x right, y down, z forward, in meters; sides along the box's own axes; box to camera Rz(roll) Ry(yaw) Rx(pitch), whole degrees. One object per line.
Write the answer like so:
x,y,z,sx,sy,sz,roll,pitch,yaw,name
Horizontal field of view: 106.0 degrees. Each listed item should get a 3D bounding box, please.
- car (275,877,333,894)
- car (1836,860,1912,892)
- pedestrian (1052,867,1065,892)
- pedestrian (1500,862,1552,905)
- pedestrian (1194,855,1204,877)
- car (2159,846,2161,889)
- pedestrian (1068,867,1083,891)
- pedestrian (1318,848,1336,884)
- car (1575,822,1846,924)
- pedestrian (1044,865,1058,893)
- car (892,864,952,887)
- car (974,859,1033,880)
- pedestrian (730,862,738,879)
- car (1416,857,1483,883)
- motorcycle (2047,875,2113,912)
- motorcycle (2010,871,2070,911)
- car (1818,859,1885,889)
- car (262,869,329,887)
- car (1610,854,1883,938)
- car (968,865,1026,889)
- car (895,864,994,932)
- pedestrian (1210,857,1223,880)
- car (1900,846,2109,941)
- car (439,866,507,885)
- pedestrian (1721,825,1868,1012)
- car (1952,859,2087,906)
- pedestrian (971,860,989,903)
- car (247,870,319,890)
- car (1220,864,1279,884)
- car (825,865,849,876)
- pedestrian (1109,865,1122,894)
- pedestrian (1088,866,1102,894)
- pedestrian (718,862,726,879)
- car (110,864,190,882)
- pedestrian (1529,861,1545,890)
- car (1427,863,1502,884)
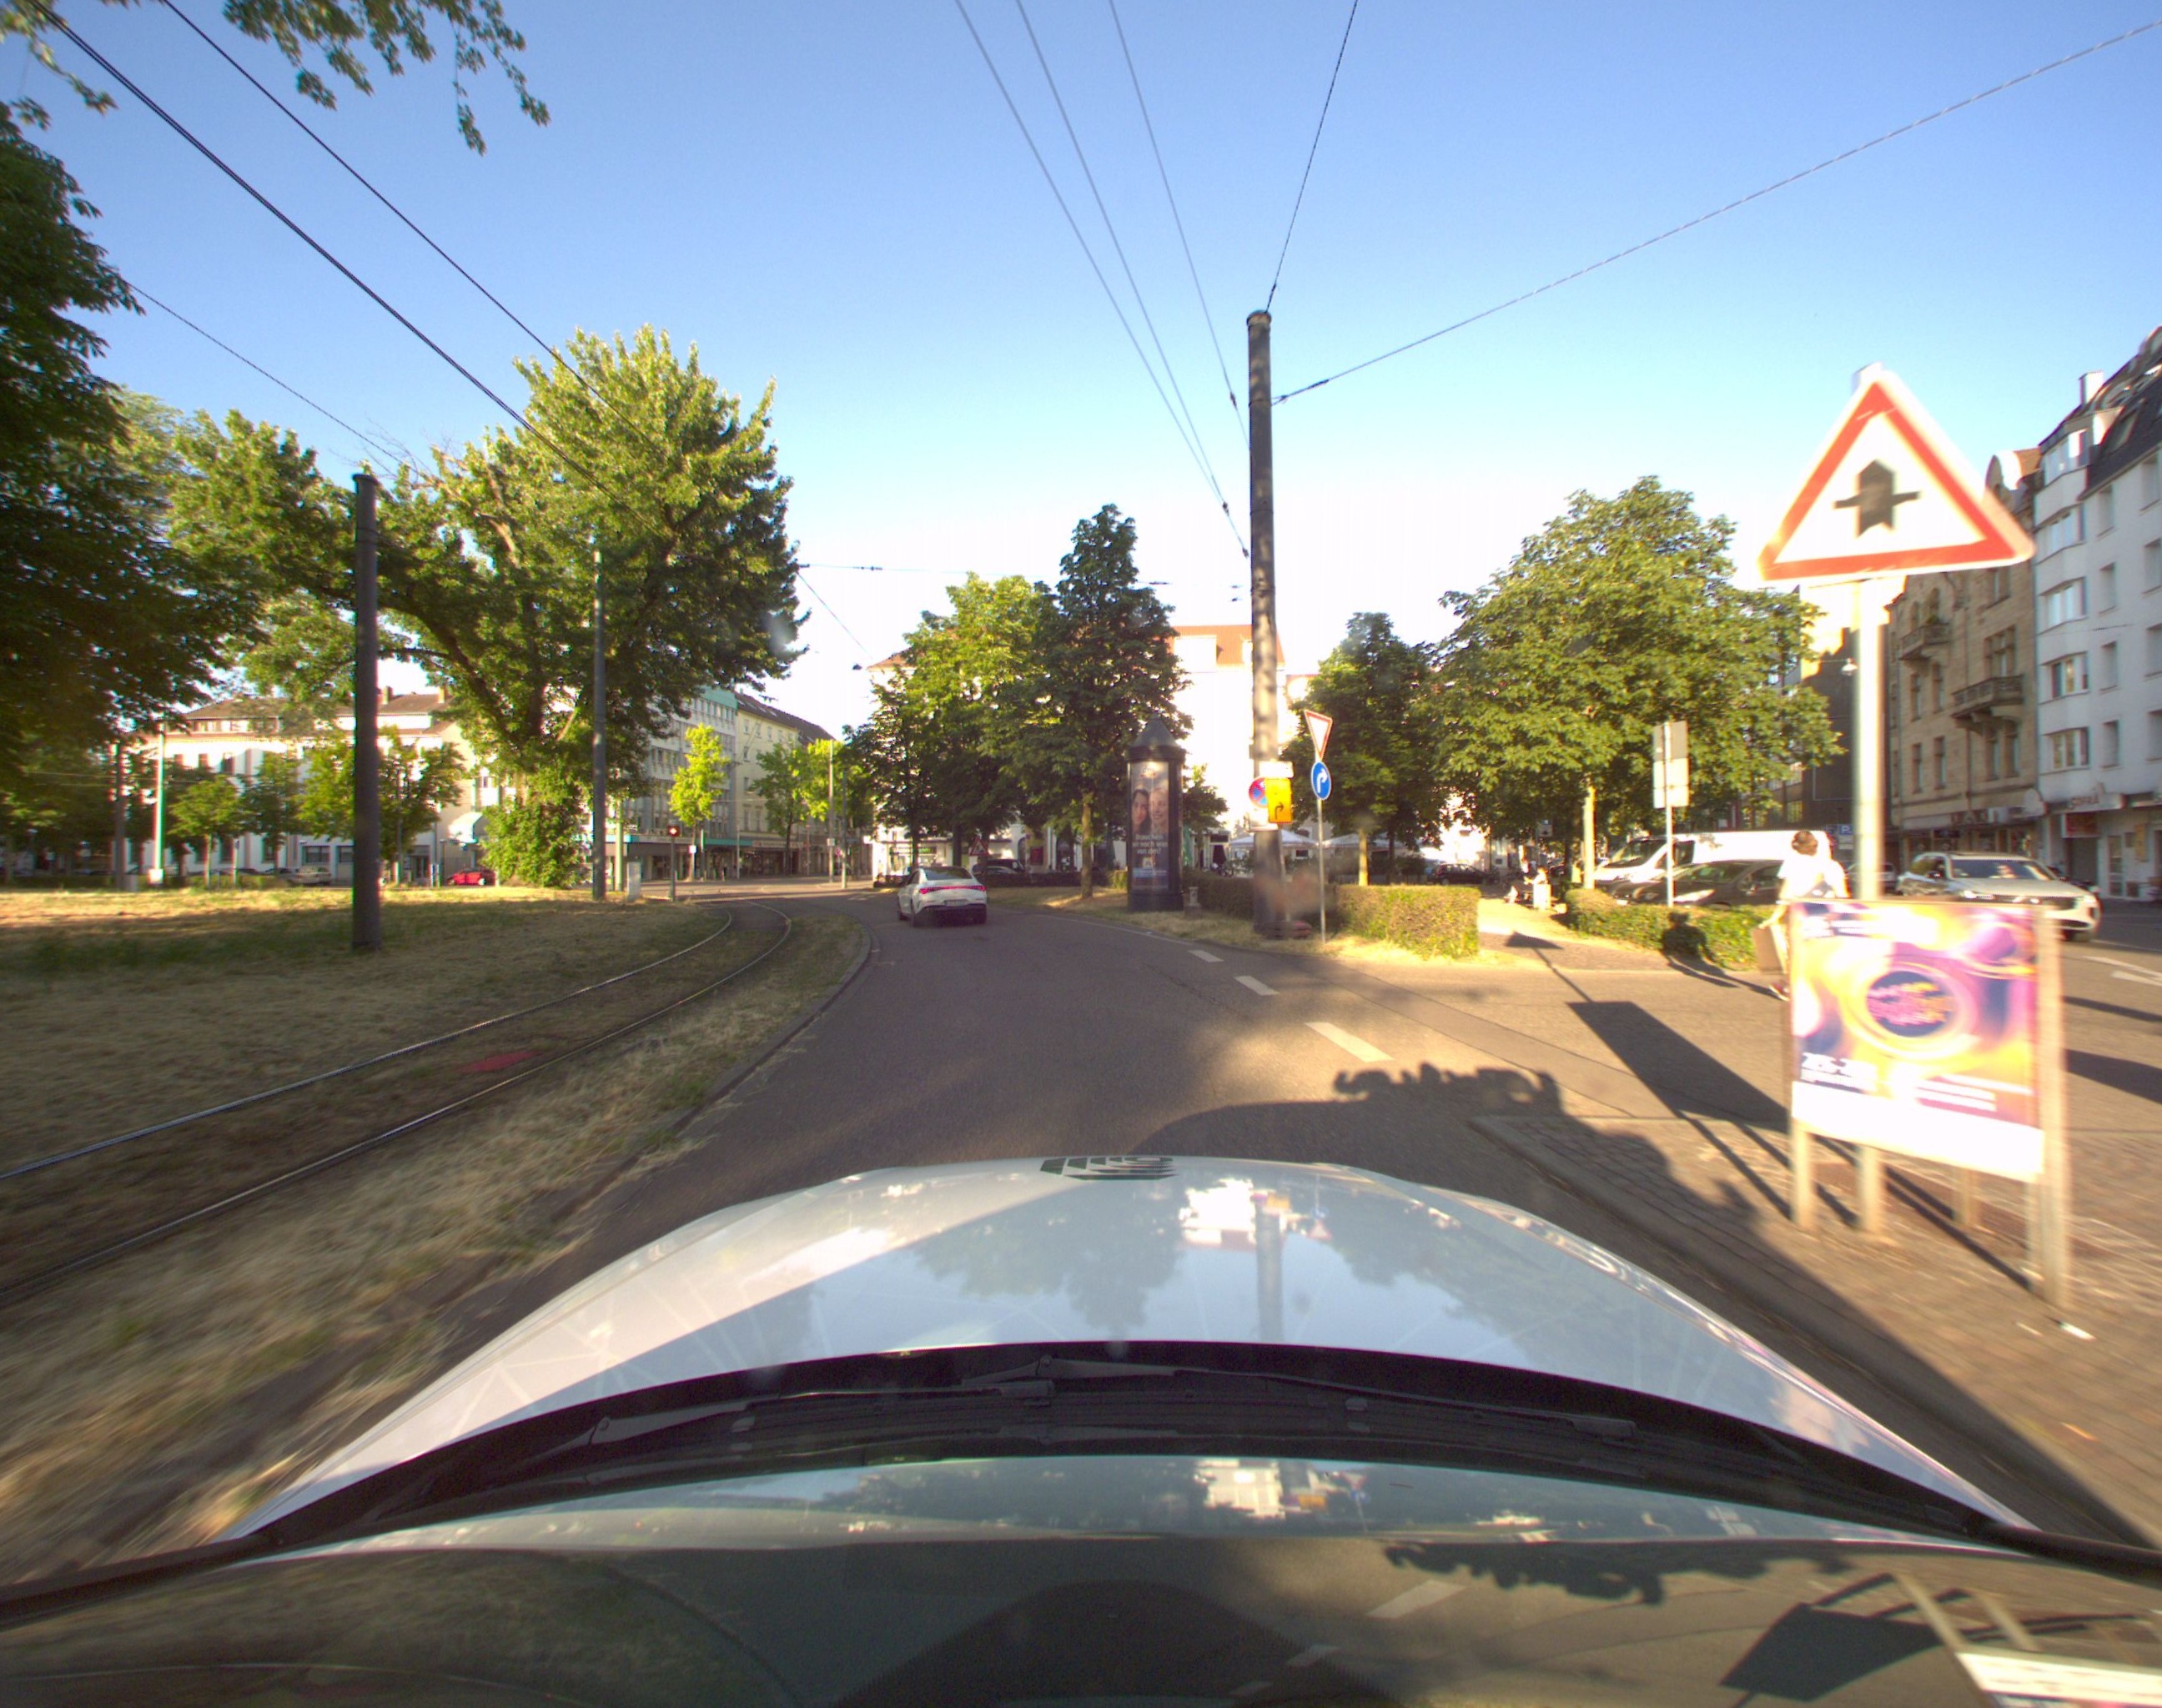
-62.637,2.540,65.648,3.375,1.296,1.532,0,-1,5,car
38.954,1.066,40.083,1.735,1.511,3.567,-2,-2,29,car
-1.294,1.423,46.047,0.530,1.379,0.663,0,-1,18,pedestrian
13.253,0.858,24.289,1.092,1.226,0.861,1,0,4,pedestrian
10.022,1.016,69.168,0.851,1.866,0.937,0,-1,4,pedestrian
25.621,0.688,17.255,1.906,1.841,4.042,-2,-2,31,car
-0.301,1.452,47.264,0.661,1.352,0.663,0,-1,18,pedestrian
13.524,0.647,44.709,0.926,1.923,0.861,0,-1,17,pedestrian
16.668,0.484,21.827,5.487,2.595,2.157,0,-1,4,car
-1.624,1.358,44.378,0.530,1.498,0.663,0,-1,18,pedestrian
-10.760,1.456,55.295,3.593,1.552,1.666,0,-1,7,car
-5.713,1.145,60.122,3.965,1.552,2.004,0,-1,7,car
-35.534,1.690,83.412,0.476,1.701,0.542,0,-1,7,pedestrian
25.845,1.122,57.228,3.965,1.782,1.856,0,-1,7,car
30.388,1.191,24.796,0.482,1.043,1.844,-3,-1,26,motorcycle
29.848,1.140,25.372,0.482,1.174,1.616,-3,-1,23,motorcycle
41.293,1.060,43.729,1.735,1.511,3.567,-2,-2,29,car
-62.729,1.913,65.065,3.709,1.442,1.599,0,-1,-1,car
13.059,0.788,16.148,3.978,1.552,1.877,0,-1,-3,car
-5.615,1.532,54.640,3.593,1.552,1.666,0,-1,7,car
-3.658,1.049,21.200,1.870,1.441,4.171,-3,1,-18,car
11.336,1.202,68.134,0.929,1.866,0.858,0,-1,1,pedestrian
19.346,0.731,17.310,1.974,1.772,4.025,0,0,34,car
-48.044,1.716,64.403,3.966,1.464,2.004,0,-1,6,car
7.011,0.589,8.062,0.852,1.706,0.946,0,0,24,pedestrian
32.257,0.951,28.147,1.735,1.511,3.999,-2,-2,29,car
-3.666,0.991,29.604,0.561,1.566,0.591,1,-1,-15,pedestrian
-59.250,1.954,60.519,3.708,1.442,1.599,0,-1,0,car
11.846,1.392,57.370,3.965,1.301,1.856,0,-1,7,car
-31.136,2.095,103.926,1.648,1.477,3.631,0,-1,6,car
1.849,1.384,43.937,0.530,1.549,0.663,0,-1,18,pedestrian
0.744,1.393,43.436,0.530,1.498,0.663,0,-1,18,pedestrian
-36.776,1.671,83.437,0.476,1.701,0.542,0,-1,7,pedestrian
-70.004,1.415,61.267,3.944,1.255,1.602,1,0,-3,car
31.606,1.470,56.465,0.957,2.014,1.033,0,-1,30,pedestrian
24.466,1.254,52.019,3.965,1.301,1.856,0,-1,7,car
